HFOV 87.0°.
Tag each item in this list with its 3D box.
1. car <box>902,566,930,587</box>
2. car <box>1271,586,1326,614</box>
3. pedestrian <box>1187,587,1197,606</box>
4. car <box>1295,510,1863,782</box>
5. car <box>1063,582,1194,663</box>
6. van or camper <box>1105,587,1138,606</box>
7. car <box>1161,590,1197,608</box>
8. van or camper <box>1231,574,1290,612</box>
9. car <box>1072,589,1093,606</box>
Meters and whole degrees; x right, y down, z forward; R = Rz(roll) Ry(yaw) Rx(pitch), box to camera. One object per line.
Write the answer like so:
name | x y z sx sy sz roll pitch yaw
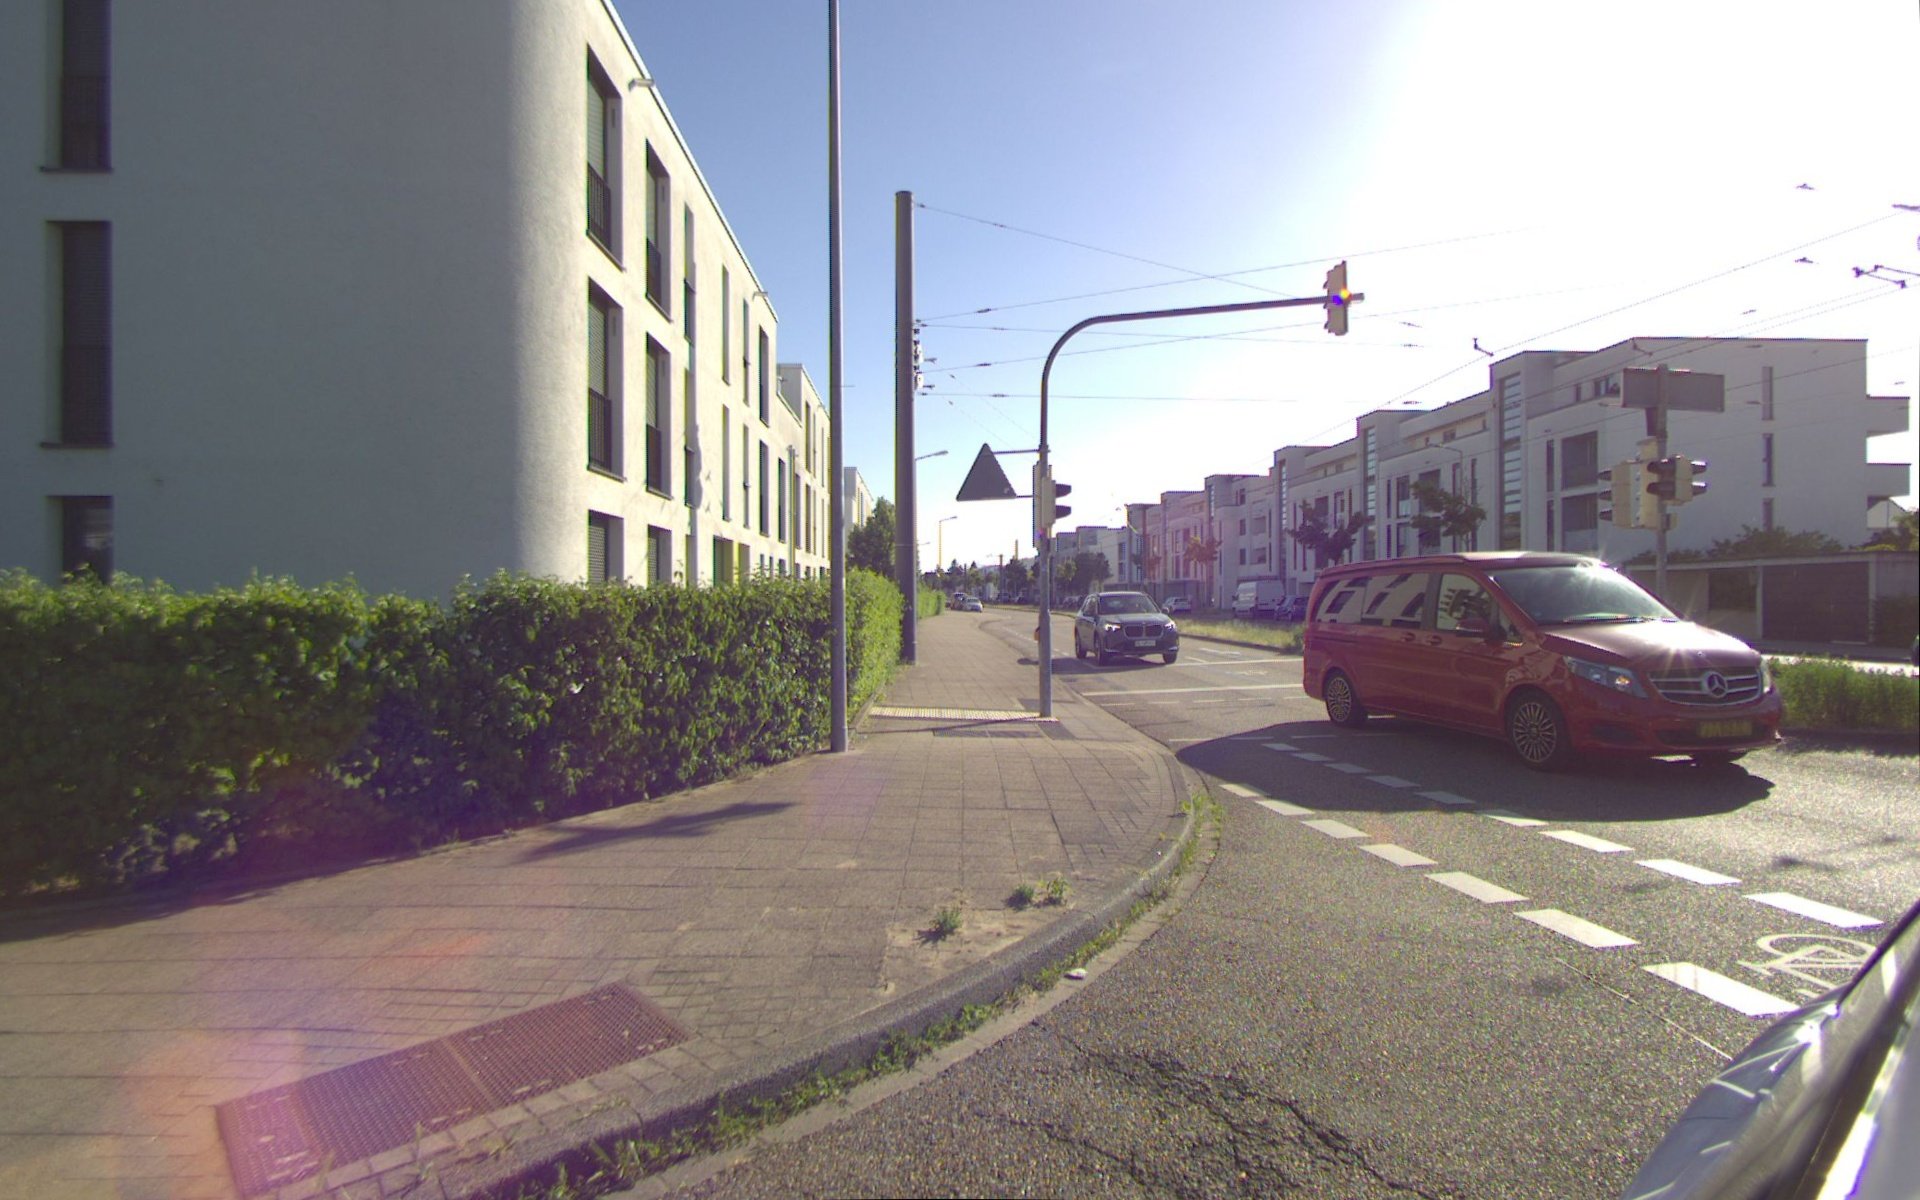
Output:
car | -5.299 -2.781 123.199 3.124 2.376 6.176 -2 1 0
car | 20.427 -0.001 61.172 1.898 1.633 3.837 0 0 -2
pedestrian | 21.140 -0.337 92.303 0.606 1.664 0.614 -2 0 -8
car | 5.625 0.336 10.292 2.086 1.994 5.091 -2 0 -8
car | 3.893 0.451 24.194 1.960 1.693 4.413 -2 1 -5
van or camper | 17.462 -0.400 109.969 2.230 1.871 6.289 -1 0 -3
car | 19.092 -0.100 88.492 2.007 1.606 4.125 0 0 -4
van or camper | 20.073 -0.470 67.873 2.156 2.496 5.262 0 0 -2
car | 15.535 -0.346 128.597 1.753 2.039 4.004 -2 1 -5
